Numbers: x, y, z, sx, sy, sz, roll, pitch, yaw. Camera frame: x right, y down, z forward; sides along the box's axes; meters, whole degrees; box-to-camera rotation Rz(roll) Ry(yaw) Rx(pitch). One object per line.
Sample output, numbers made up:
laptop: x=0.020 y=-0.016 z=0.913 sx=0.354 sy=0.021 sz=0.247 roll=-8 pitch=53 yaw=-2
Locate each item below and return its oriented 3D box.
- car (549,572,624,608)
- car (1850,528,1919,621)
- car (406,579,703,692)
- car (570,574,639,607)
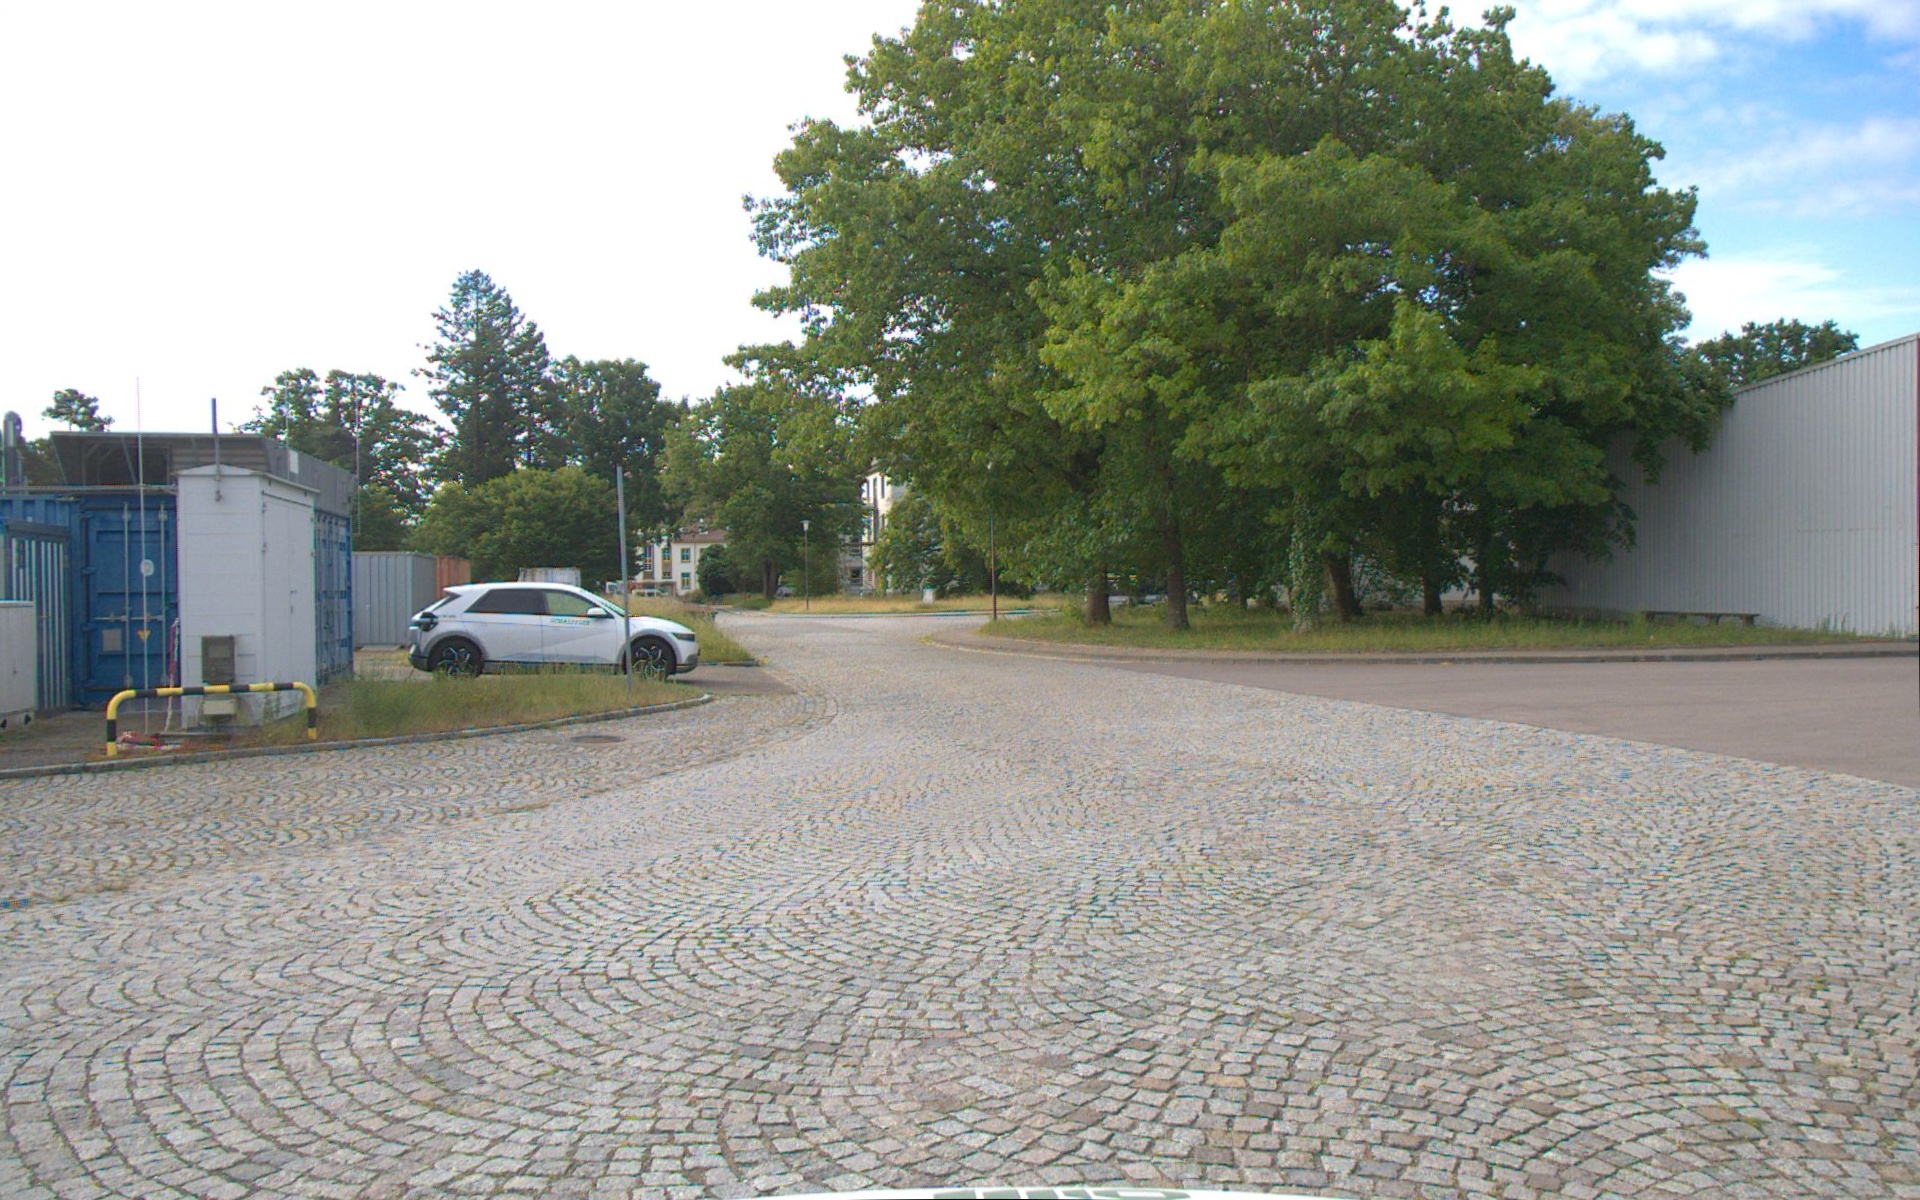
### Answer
car: x=-26.212 y=-0.730 z=116.248 sx=5.081 sy=2.378 sz=1.994 roll=-1 pitch=0 yaw=-13
car: x=22.222 y=-0.583 z=35.867 sx=2.203 sy=2.049 sz=5.319 roll=-1 pitch=0 yaw=-13
car: x=-6.423 y=0.536 z=26.657 sx=4.451 sy=1.627 sz=1.995 roll=-1 pitch=0 yaw=-10
car: x=-27.023 y=-0.713 z=125.832 sx=5.081 sy=2.378 sz=1.994 roll=-1 pitch=0 yaw=-13
